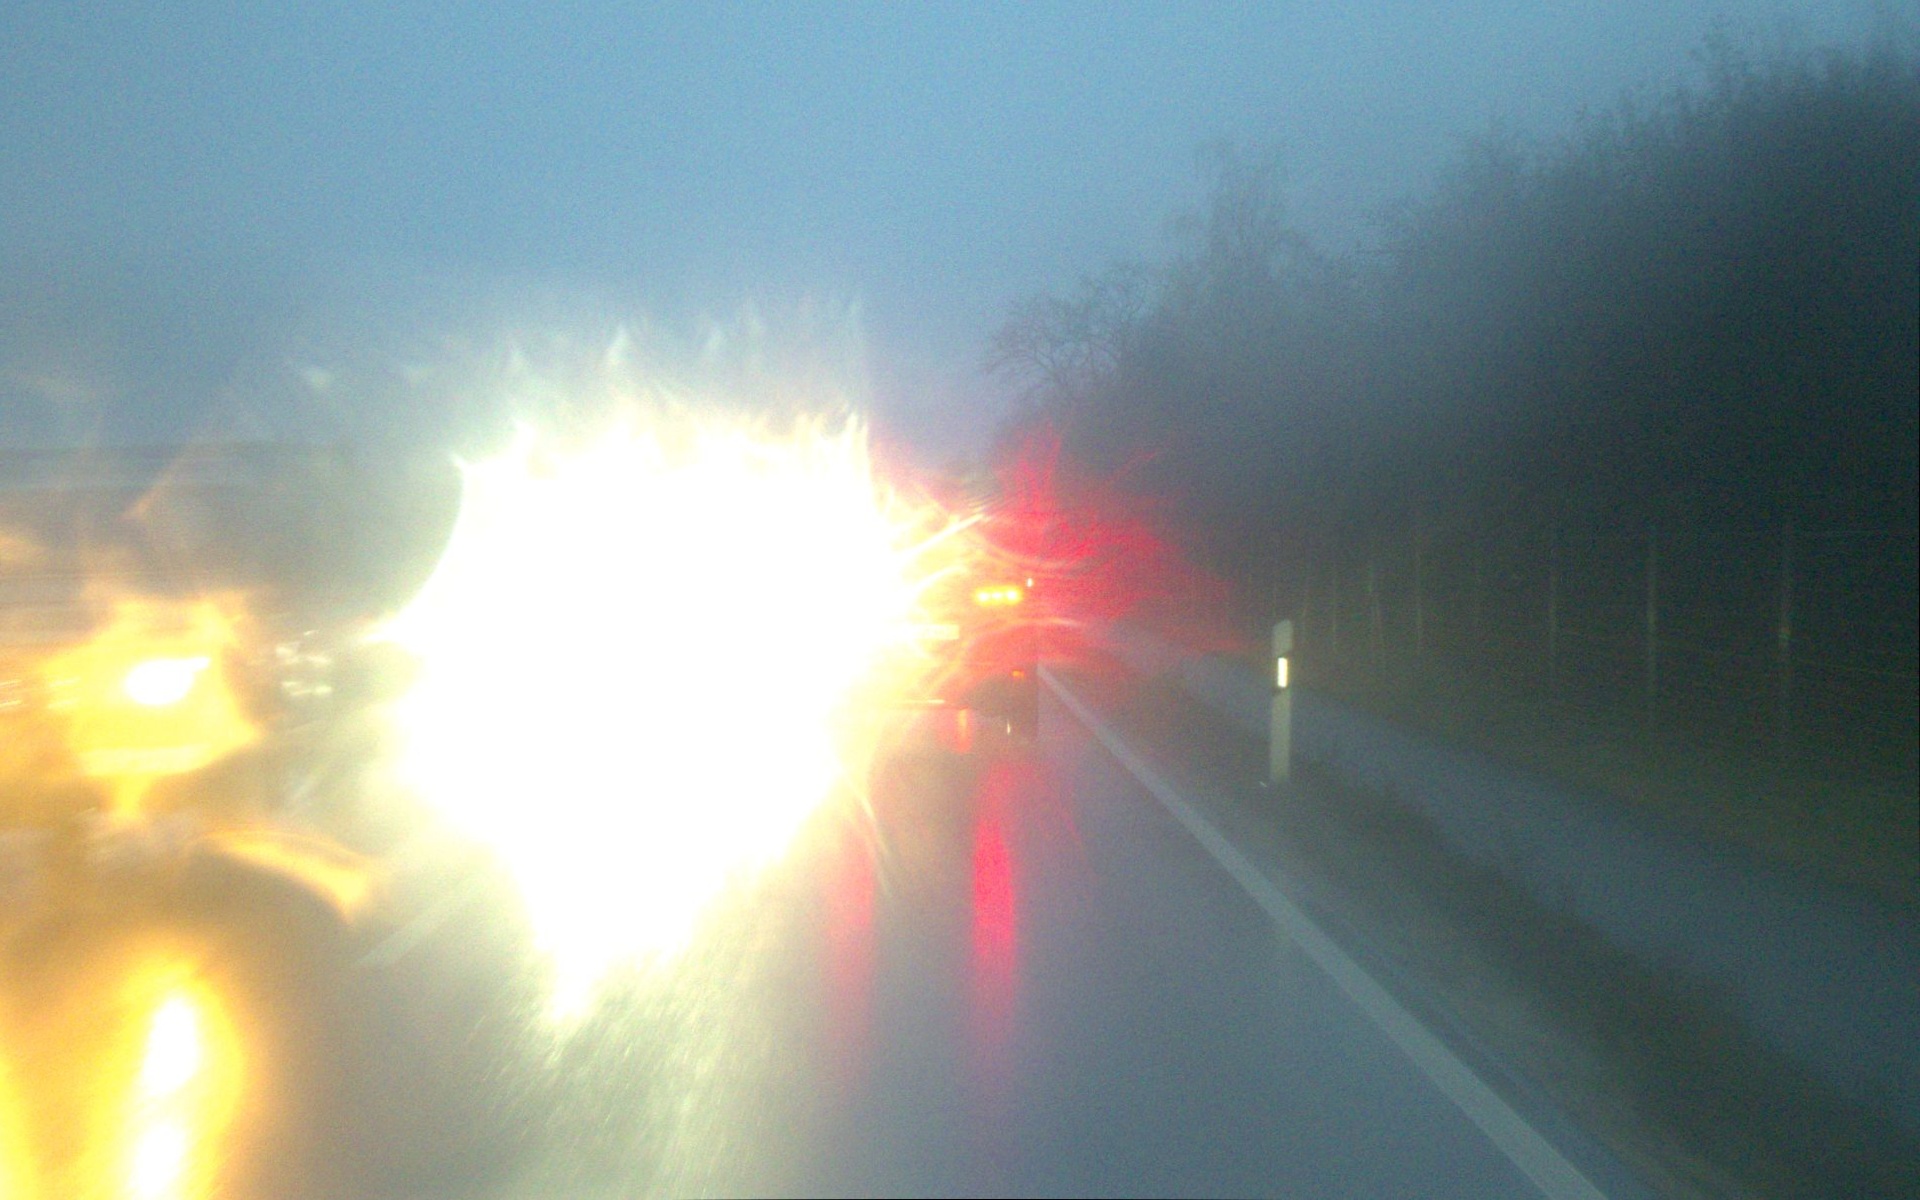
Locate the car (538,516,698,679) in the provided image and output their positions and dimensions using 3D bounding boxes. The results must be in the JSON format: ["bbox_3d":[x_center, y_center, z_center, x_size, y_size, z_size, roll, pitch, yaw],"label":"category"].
[{"bbox_3d":[-4.682,-0.071,47.631,1.915,2.130,4.314,-1,1,-2],"label":"car"}]

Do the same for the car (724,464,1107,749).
[{"bbox_3d":[-0.312,0.007,28.667,2.820,2.070,5.804,1,1,0],"label":"car"}]

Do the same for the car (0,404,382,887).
[{"bbox_3d":[-4.184,0.170,17.398,1.915,2.130,4.314,-1,1,-2],"label":"car"}]

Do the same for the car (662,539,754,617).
[{"bbox_3d":[-5.671,-0.520,77.781,1.915,1.706,4.314,-1,1,-2],"label":"car"}]
